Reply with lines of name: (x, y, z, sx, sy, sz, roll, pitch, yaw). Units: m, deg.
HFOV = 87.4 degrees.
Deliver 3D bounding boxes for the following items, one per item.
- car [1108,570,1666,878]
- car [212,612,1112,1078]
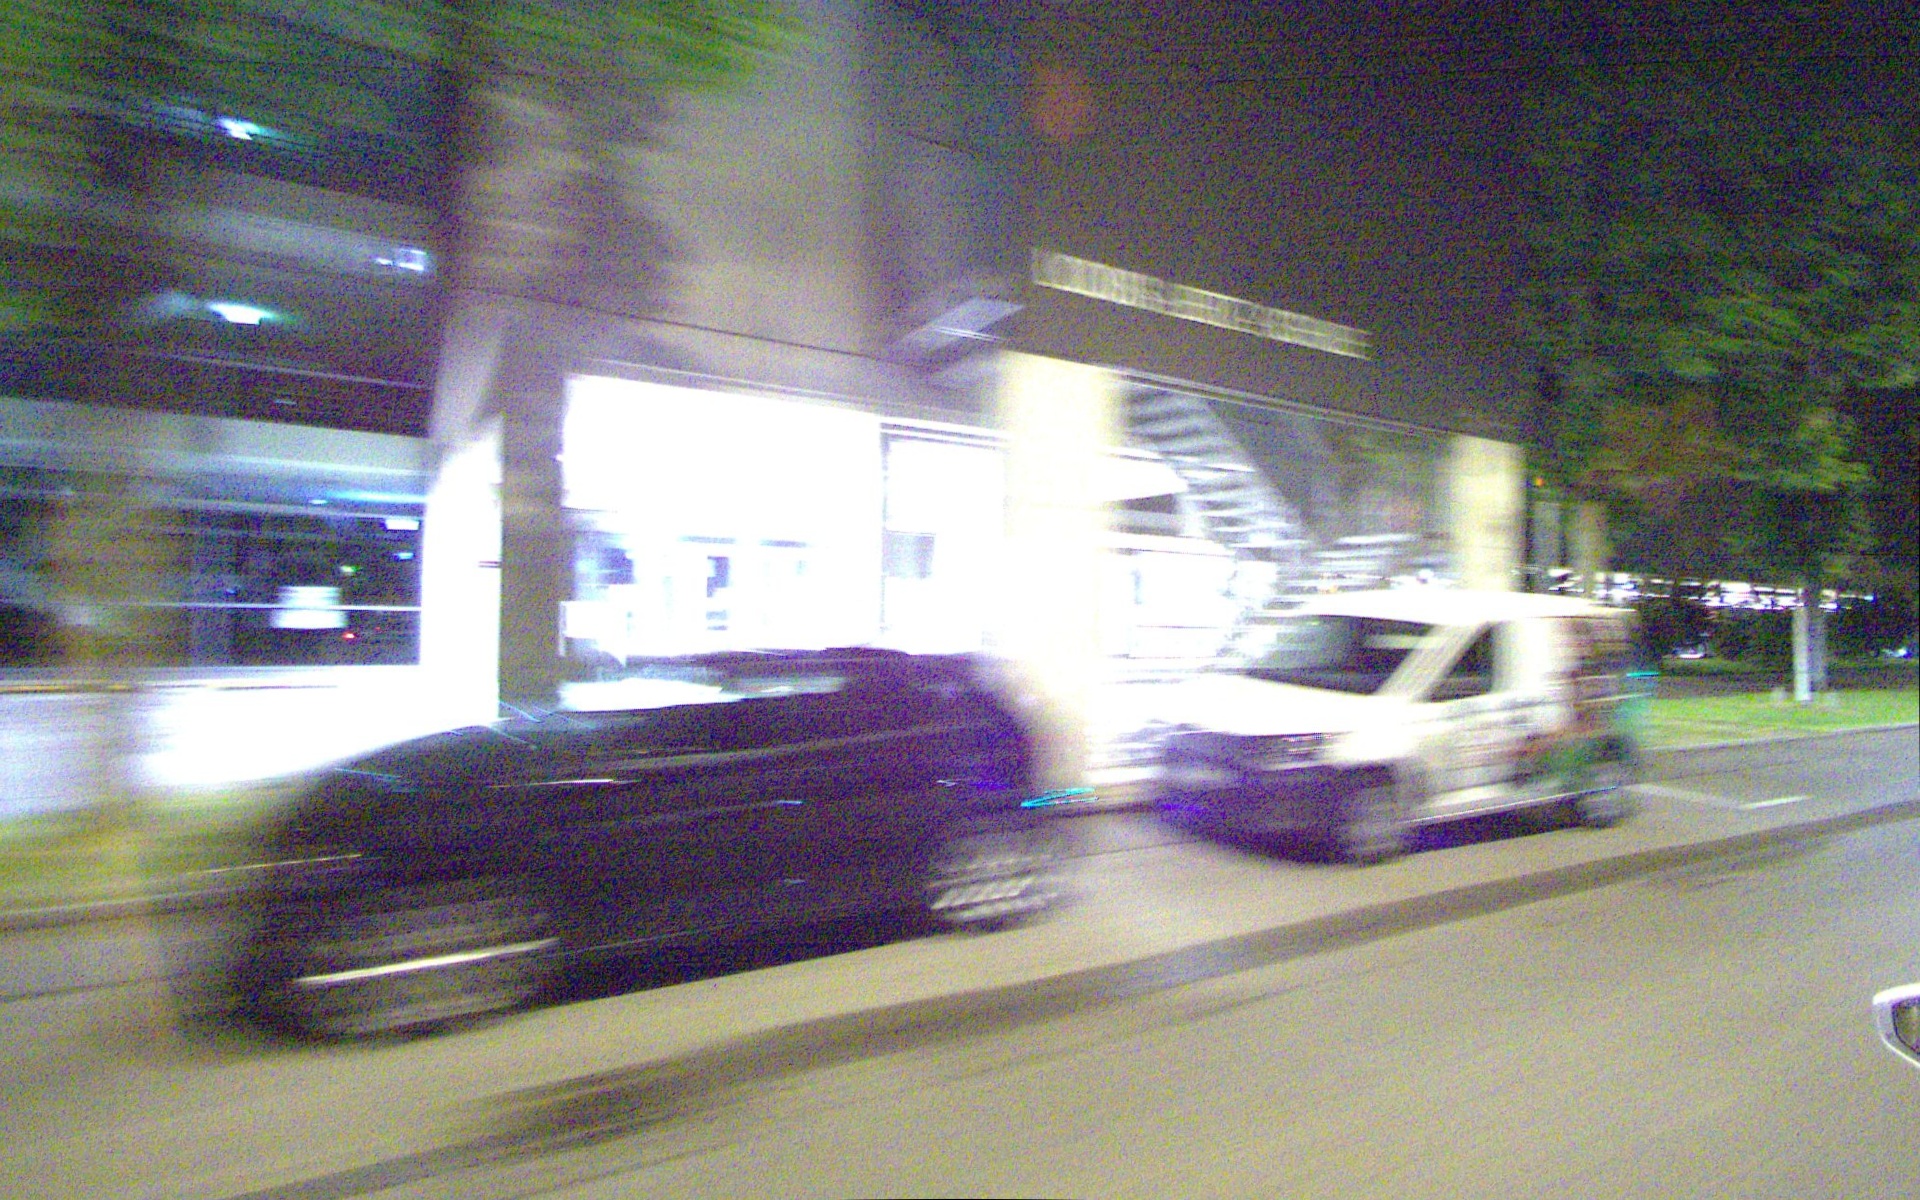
car: (3.413, 0.772, 7.906, 4.159, 1.836, 1.814, 1, 2, -29)
car: (-1.260, 0.845, 5.004, 3.786, 1.453, 1.691, 1, 1, -32)
